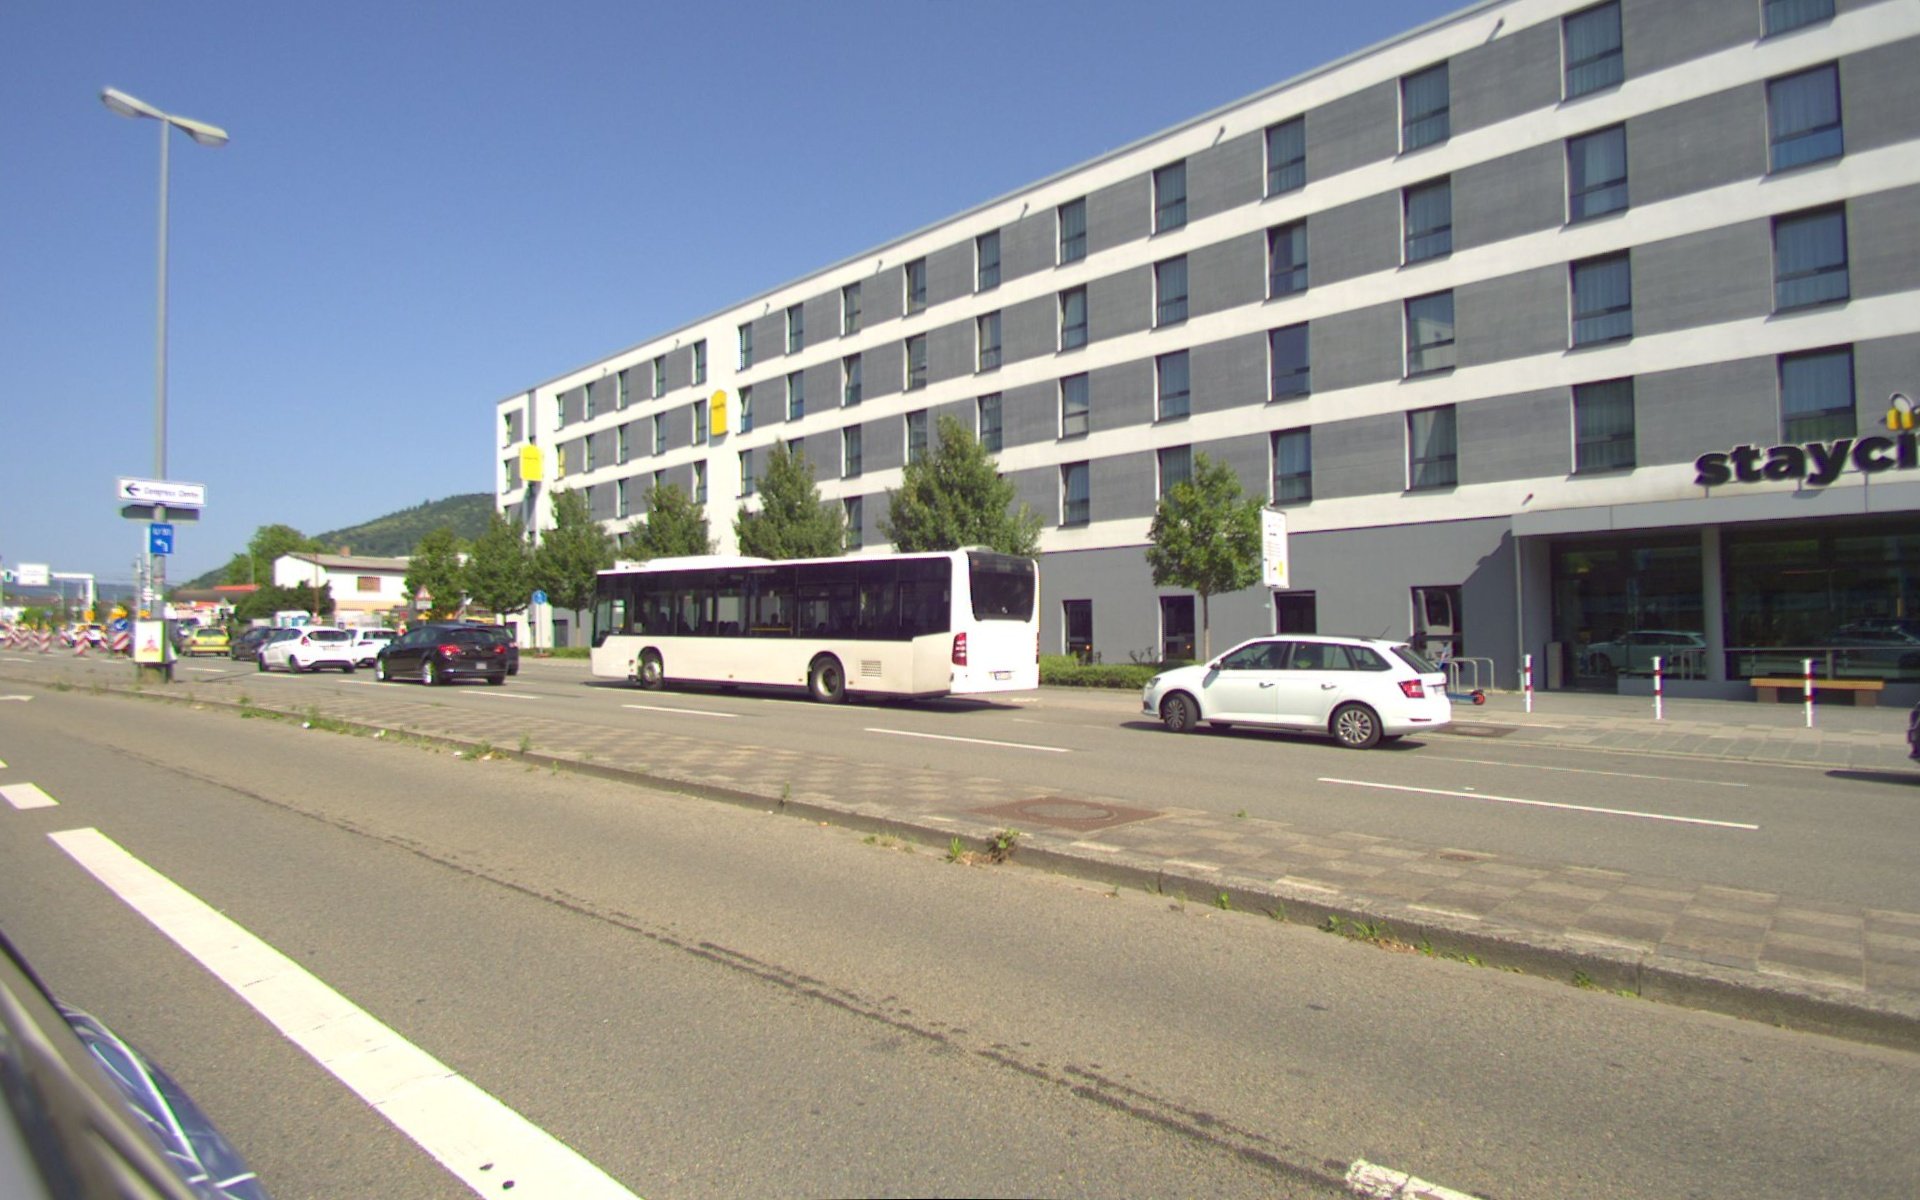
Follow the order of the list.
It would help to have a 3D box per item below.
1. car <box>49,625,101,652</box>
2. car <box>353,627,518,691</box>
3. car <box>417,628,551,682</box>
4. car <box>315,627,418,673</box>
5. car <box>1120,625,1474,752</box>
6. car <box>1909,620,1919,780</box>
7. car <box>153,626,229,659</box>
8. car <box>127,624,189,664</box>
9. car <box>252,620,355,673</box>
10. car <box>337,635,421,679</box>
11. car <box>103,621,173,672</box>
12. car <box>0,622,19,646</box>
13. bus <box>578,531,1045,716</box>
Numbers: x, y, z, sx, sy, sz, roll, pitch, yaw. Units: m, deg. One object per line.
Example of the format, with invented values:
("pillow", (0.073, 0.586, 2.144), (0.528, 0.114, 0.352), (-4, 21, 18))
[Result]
("car", (-59.325, 2.544, 67.839), (4.888, 1.725, 1.973), (-2, -2, 41))
("car", (-13.199, 1.400, 25.352), (4.887, 1.443, 1.973), (-1, -2, 40))
("car", (-14.889, 1.643, 31.551), (4.888, 1.534, 1.973), (-1, -2, 41))
("car", (-21.286, 1.750, 36.247), (3.972, 1.550, 1.836), (-1, -2, 38))
("car", (4.717, 1.170, 14.376), (4.403, 1.497, 1.976), (0, -4, 36))
("car", (11.628, 1.026, 9.094), (4.411, 1.590, 1.972), (-1, -5, 42))
("car", (-37.618, 2.052, 49.459), (4.888, 1.534, 1.973), (-1, -2, 41))
("car", (-43.709, 2.356, 55.148), (3.998, 2.029, 1.973), (0, 0, 41))
("car", (-20.287, 1.373, 31.217), (3.999, 1.462, 1.740), (0, 0, 42))
("car", (-23.381, 2.249, 40.697), (3.586, 1.631, 1.698), (-1, -1, 37))
("car", (-35.541, 1.956, 43.745), (4.162, 2.029, 1.658), (0, 0, 41))
("car", (-83.675, 2.971, 88.135), (3.996, 2.029, 1.973), (-1, -3, 40))
("bus", (-3.838, 0.548, 21.854), (11.966, 3.102, 2.710), (-1, -4, 40))
